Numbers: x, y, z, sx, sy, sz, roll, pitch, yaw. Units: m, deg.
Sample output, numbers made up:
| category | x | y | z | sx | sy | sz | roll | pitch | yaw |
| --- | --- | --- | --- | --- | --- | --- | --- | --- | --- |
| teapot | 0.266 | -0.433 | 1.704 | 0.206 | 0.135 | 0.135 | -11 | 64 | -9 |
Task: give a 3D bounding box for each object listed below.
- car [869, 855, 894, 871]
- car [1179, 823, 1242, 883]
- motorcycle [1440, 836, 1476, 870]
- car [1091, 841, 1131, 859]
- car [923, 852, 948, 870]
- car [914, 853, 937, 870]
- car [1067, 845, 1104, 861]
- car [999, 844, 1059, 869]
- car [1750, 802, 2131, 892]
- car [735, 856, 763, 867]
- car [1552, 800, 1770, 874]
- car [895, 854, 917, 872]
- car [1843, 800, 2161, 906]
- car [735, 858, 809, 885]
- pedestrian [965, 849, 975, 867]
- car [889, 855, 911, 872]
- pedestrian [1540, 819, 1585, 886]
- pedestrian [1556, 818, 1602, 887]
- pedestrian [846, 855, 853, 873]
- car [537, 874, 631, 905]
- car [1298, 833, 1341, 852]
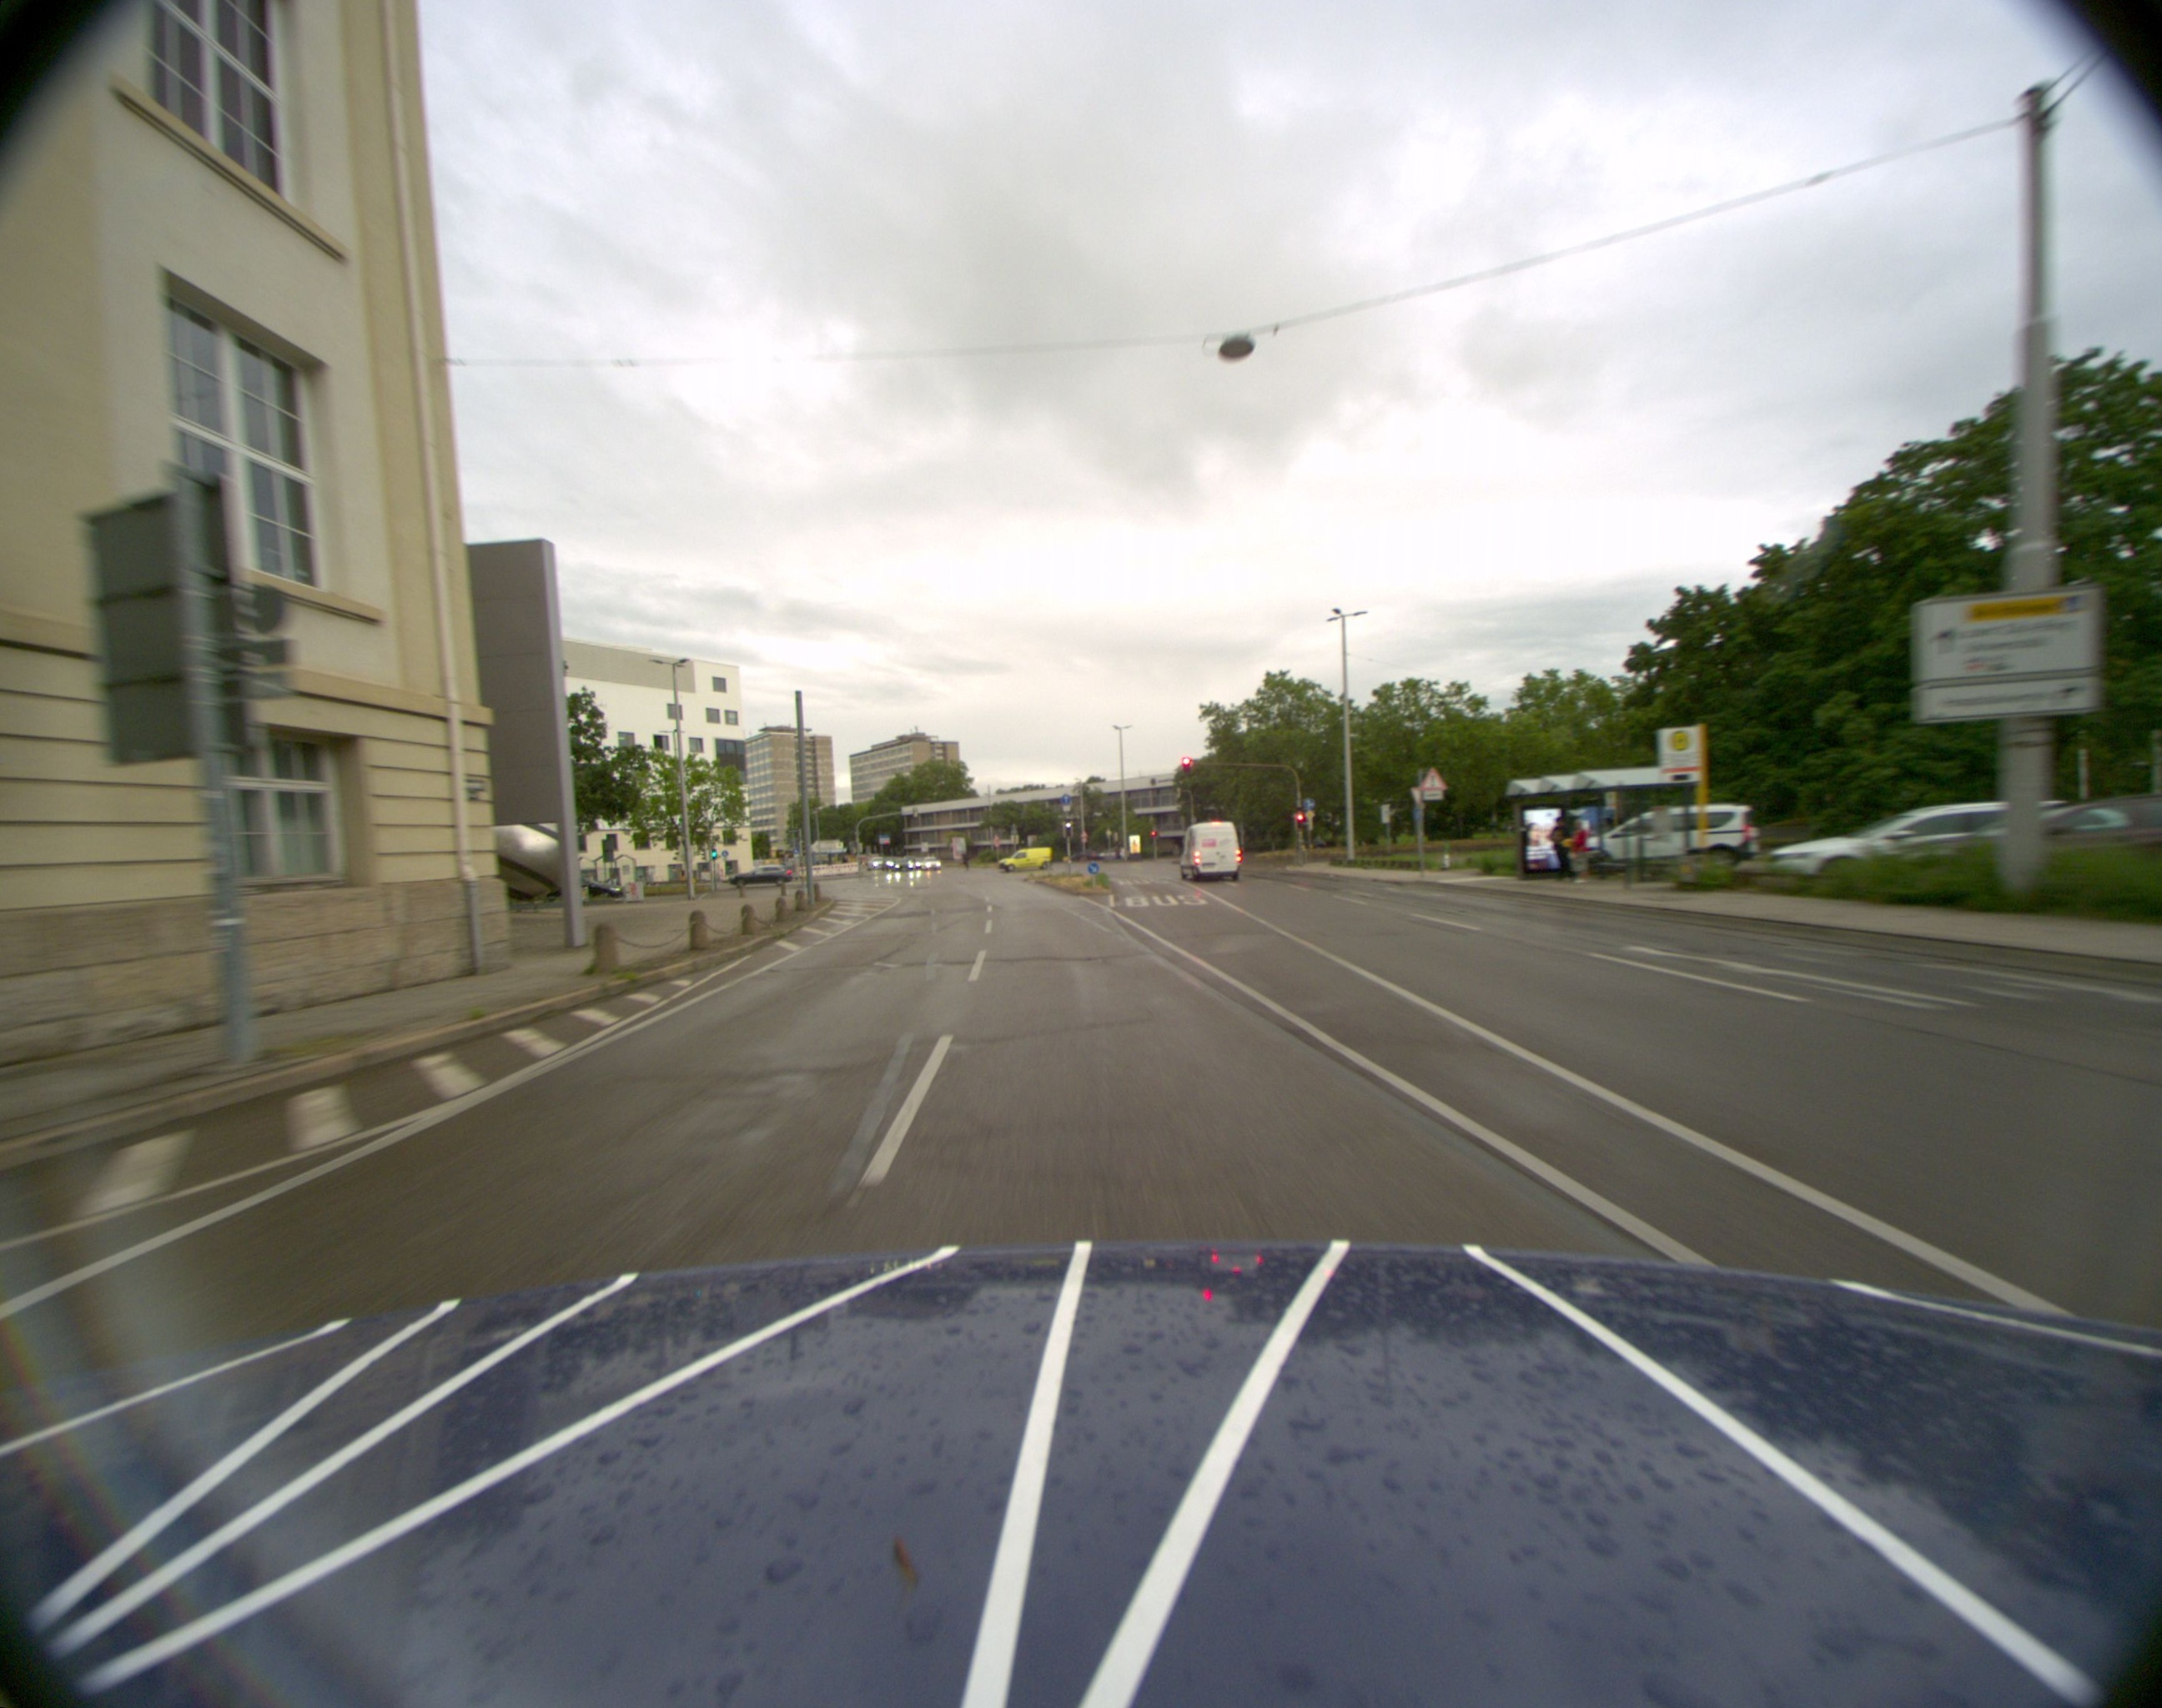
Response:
| category | x | y | z | sx | sy | sz | roll | pitch | yaw |
| --- | --- | --- | --- | --- | --- | --- | --- | --- | --- |
| car | -26.241 | 1.183 | 99.752 | 2.080 | 1.900 | 4.553 | -3 | 1 | -28 |
| car | 5.987 | -0.071 | 35.781 | 1.988 | 2.514 | 5.631 | -2 | 0 | 1 |
| motorcycle | 14.498 | -0.041 | 29.262 | 0.516 | 1.240 | 1.266 | -5 | 1 | -11 |
| car | 3.634 | -0.464 | 91.305 | 4.338 | 1.900 | 2.080 | -2 | 1 | 19 |
| car | -16.194 | 0.763 | 84.388 | 2.079 | 1.900 | 4.555 | -3 | 0 | -19 |
| car | -18.486 | 0.908 | 90.142 | 2.079 | 1.816 | 4.555 | -3 | 0 | -19 |
| car | 0.559 | -0.097 | 89.369 | 3.833 | 1.664 | 1.931 | -2 | 1 | 19 |
| car | -4.622 | 0.245 | 67.391 | 4.826 | 1.996 | 2.120 | -3 | 1 | -16 |
| car | 15.699 | -0.103 | 14.315 | 4.369 | 1.341 | 1.907 | -4 | 1 | 32 |
| car | -58.093 | 1.329 | 132.859 | 3.998 | 1.694 | 1.840 | -3 | 1 | -2 |
| car | 16.557 | -0.447 | 21.857 | 4.711 | 1.745 | 2.019 | -3 | 2 | 44 |
| car | -19.316 | 0.993 | 83.964 | 1.885 | 1.858 | 4.340 | -3 | 1 | -19 |
| car | 15.255 | -0.044 | 11.702 | 4.573 | 1.341 | 1.907 | -4 | 1 | 28 |
| car | -24.524 | 1.357 | 60.327 | 5.298 | 1.790 | 2.045 | -3 | 1 | -24 |
| pedestrian | -11.223 | 0.391 | 76.839 | 0.903 | 1.786 | 0.541 | -4 | 2 | -3 |
| car | -21.508 | 1.071 | 90.287 | 2.079 | 1.900 | 4.555 | -3 | 0 | -19 |
| pedestrian | 12.762 | -0.042 | 20.149 | 0.685 | 1.686 | 0.672 | -4 | 2 | -5 |
| pedestrian | 12.669 | -0.037 | 19.335 | 0.629 | 1.686 | 0.642 | -4 | 2 | -5 |
| pedestrian | -25.470 | 1.093 | 83.639 | 0.644 | 2.002 | 0.594 | -3 | 1 | -22 |
| car | -29.633 | 2.067 | 45.465 | 4.496 | 1.589 | 1.982 | -2 | 0 | -28 |
| car | 26.128 | -1.236 | 83.237 | 4.339 | 1.900 | 2.079 | -2 | 1 | 14 |
